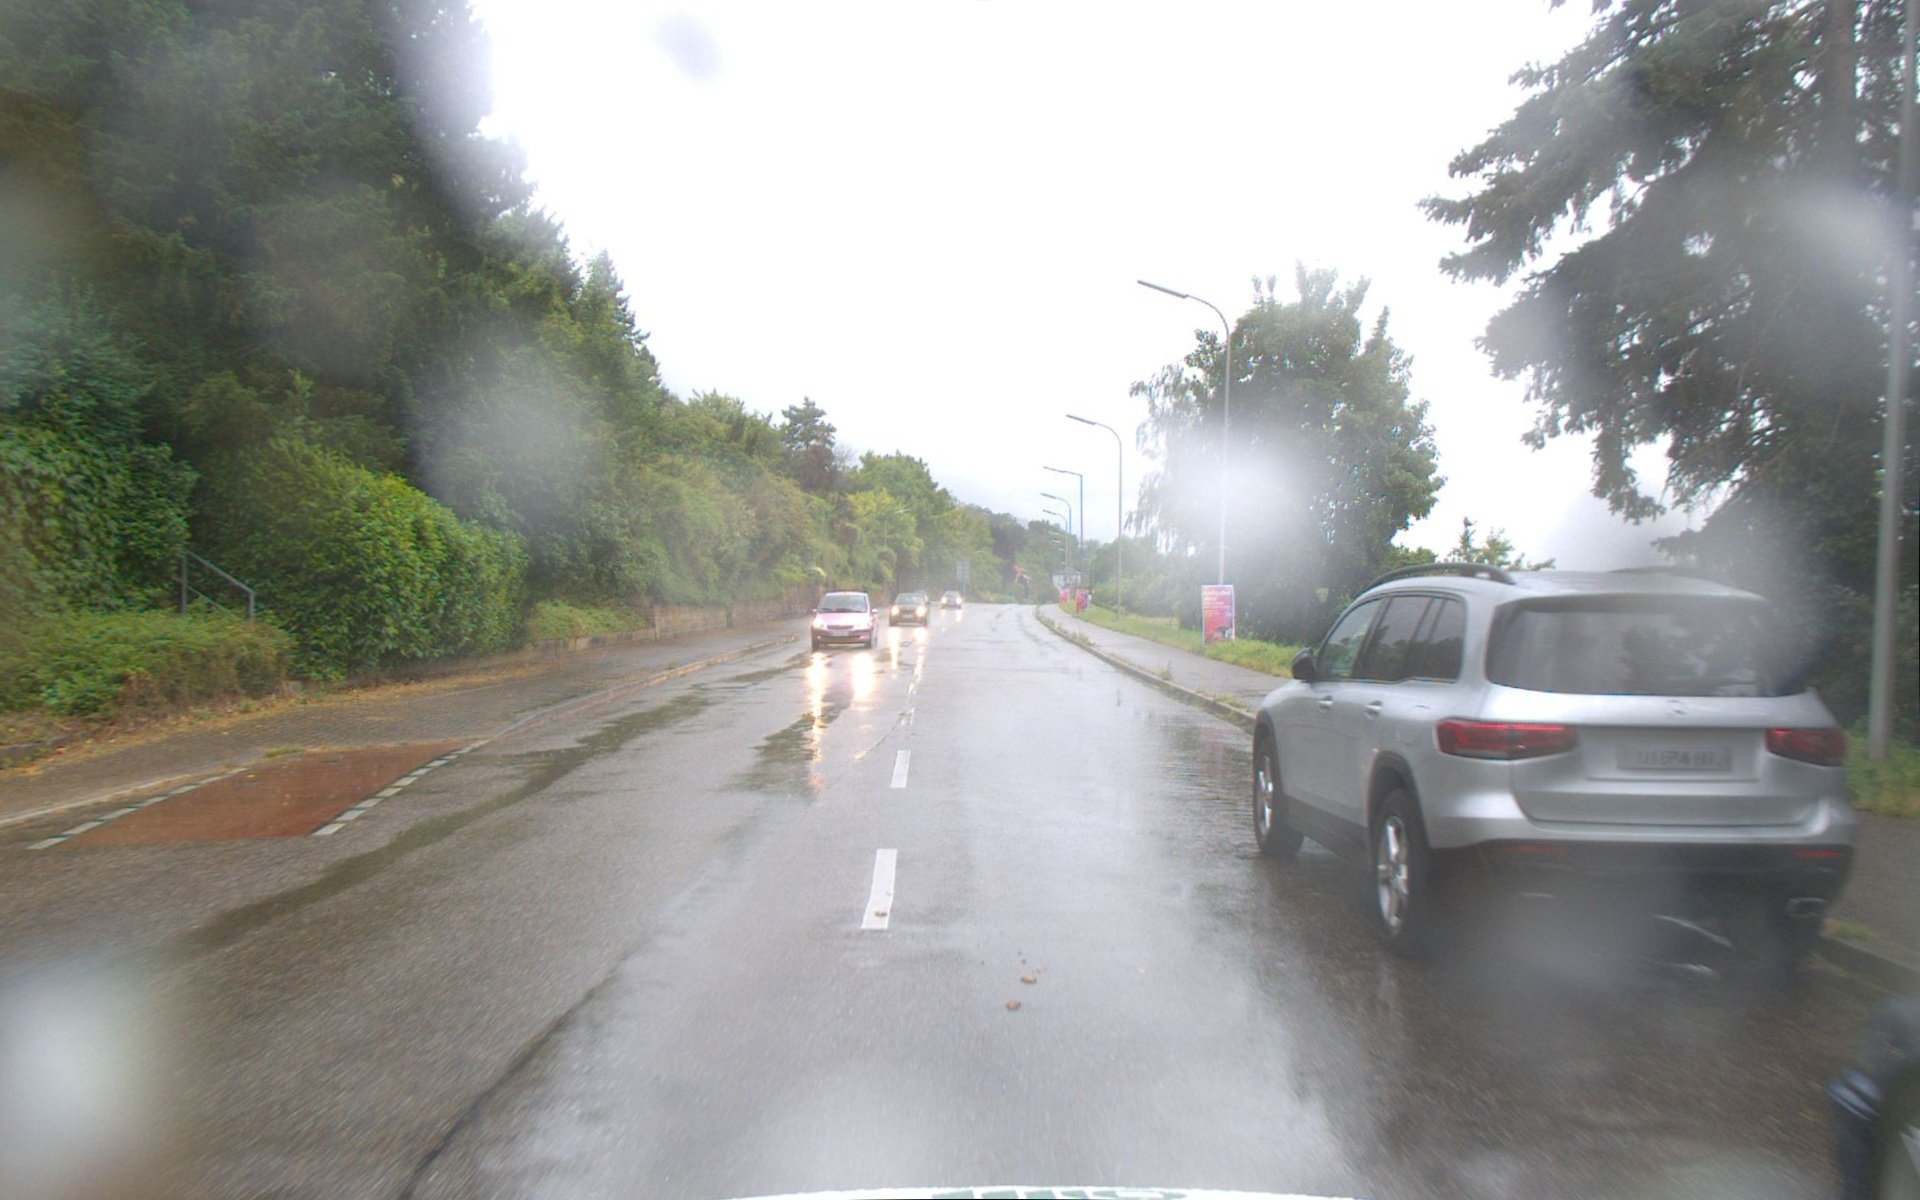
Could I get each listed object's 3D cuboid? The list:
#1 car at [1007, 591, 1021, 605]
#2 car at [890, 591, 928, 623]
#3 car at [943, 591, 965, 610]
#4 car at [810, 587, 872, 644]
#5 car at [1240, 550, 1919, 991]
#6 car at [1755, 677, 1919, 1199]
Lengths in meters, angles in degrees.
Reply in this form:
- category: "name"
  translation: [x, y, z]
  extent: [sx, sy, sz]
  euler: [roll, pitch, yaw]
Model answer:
- category: "car"
  translation: [8.026, -0.344, 246.012]
  extent: [1.952, 2.049, 4.000]
  euler: [1, 0, 1]
- category: "car"
  translation: [-2.262, 0.292, 73.740]
  extent: [1.621, 1.375, 3.986]
  euler: [0, 0, -1]
- category: "car"
  translation: [-0.510, 0.037, 137.474]
  extent: [1.724, 1.522, 4.127]
  euler: [0, 0, 0]
- category: "car"
  translation: [-3.273, 0.410, 45.758]
  extent: [1.629, 1.486, 3.659]
  euler: [0, 0, -4]
- category: "car"
  translation: [2.746, 0.651, 8.503]
  extent: [1.778, 1.674, 4.394]
  euler: [0, 0, -1]
- category: "car"
  translation: [2.771, 0.841, 1.806]
  extent: [1.597, 1.304, 4.446]
  euler: [0, 0, -1]
